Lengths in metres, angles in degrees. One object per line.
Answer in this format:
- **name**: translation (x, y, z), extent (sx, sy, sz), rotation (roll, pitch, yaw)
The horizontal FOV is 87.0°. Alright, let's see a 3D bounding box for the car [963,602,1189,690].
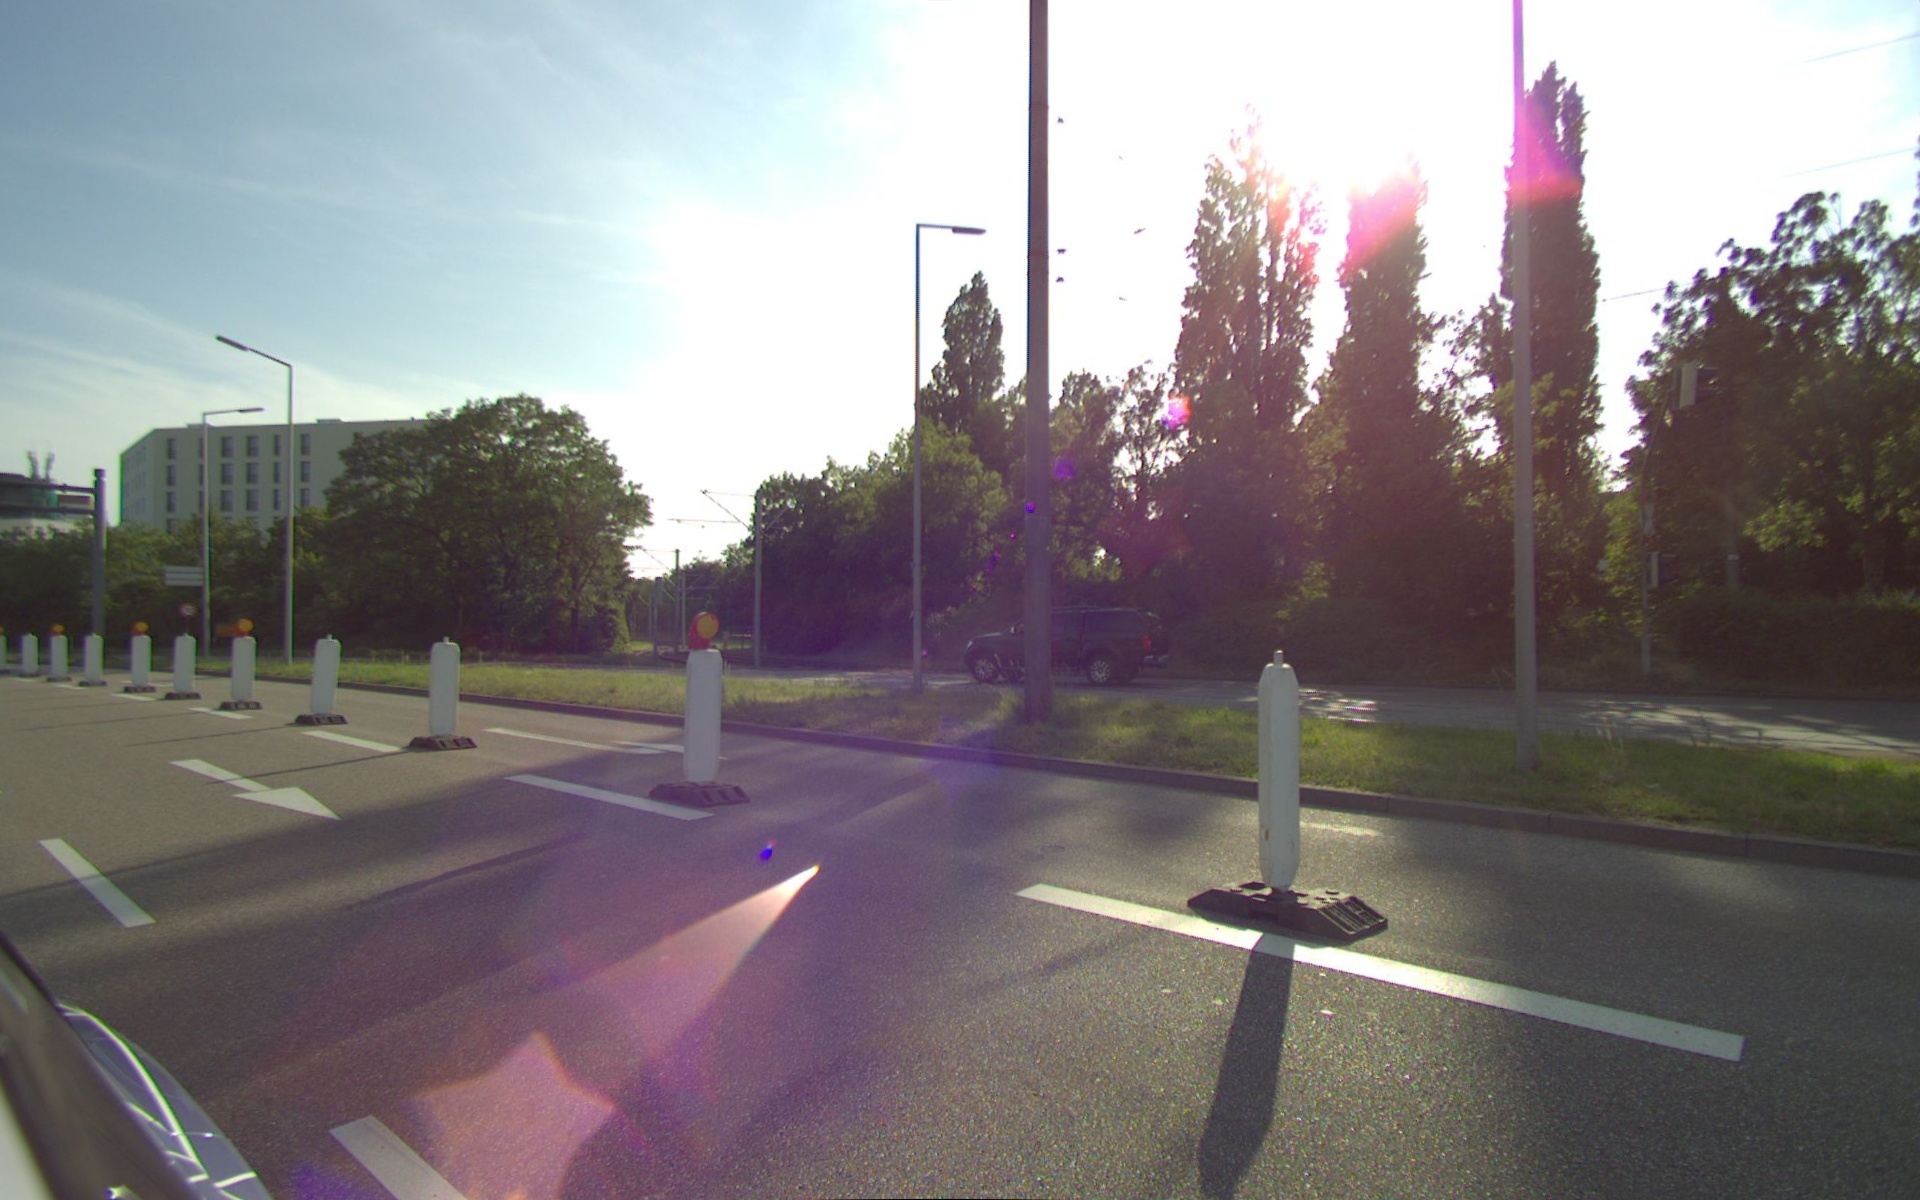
- **car**: translation (2.879, 1.133, 25.540), extent (5.331, 2.029, 1.982), rotation (-1, -2, 27)
